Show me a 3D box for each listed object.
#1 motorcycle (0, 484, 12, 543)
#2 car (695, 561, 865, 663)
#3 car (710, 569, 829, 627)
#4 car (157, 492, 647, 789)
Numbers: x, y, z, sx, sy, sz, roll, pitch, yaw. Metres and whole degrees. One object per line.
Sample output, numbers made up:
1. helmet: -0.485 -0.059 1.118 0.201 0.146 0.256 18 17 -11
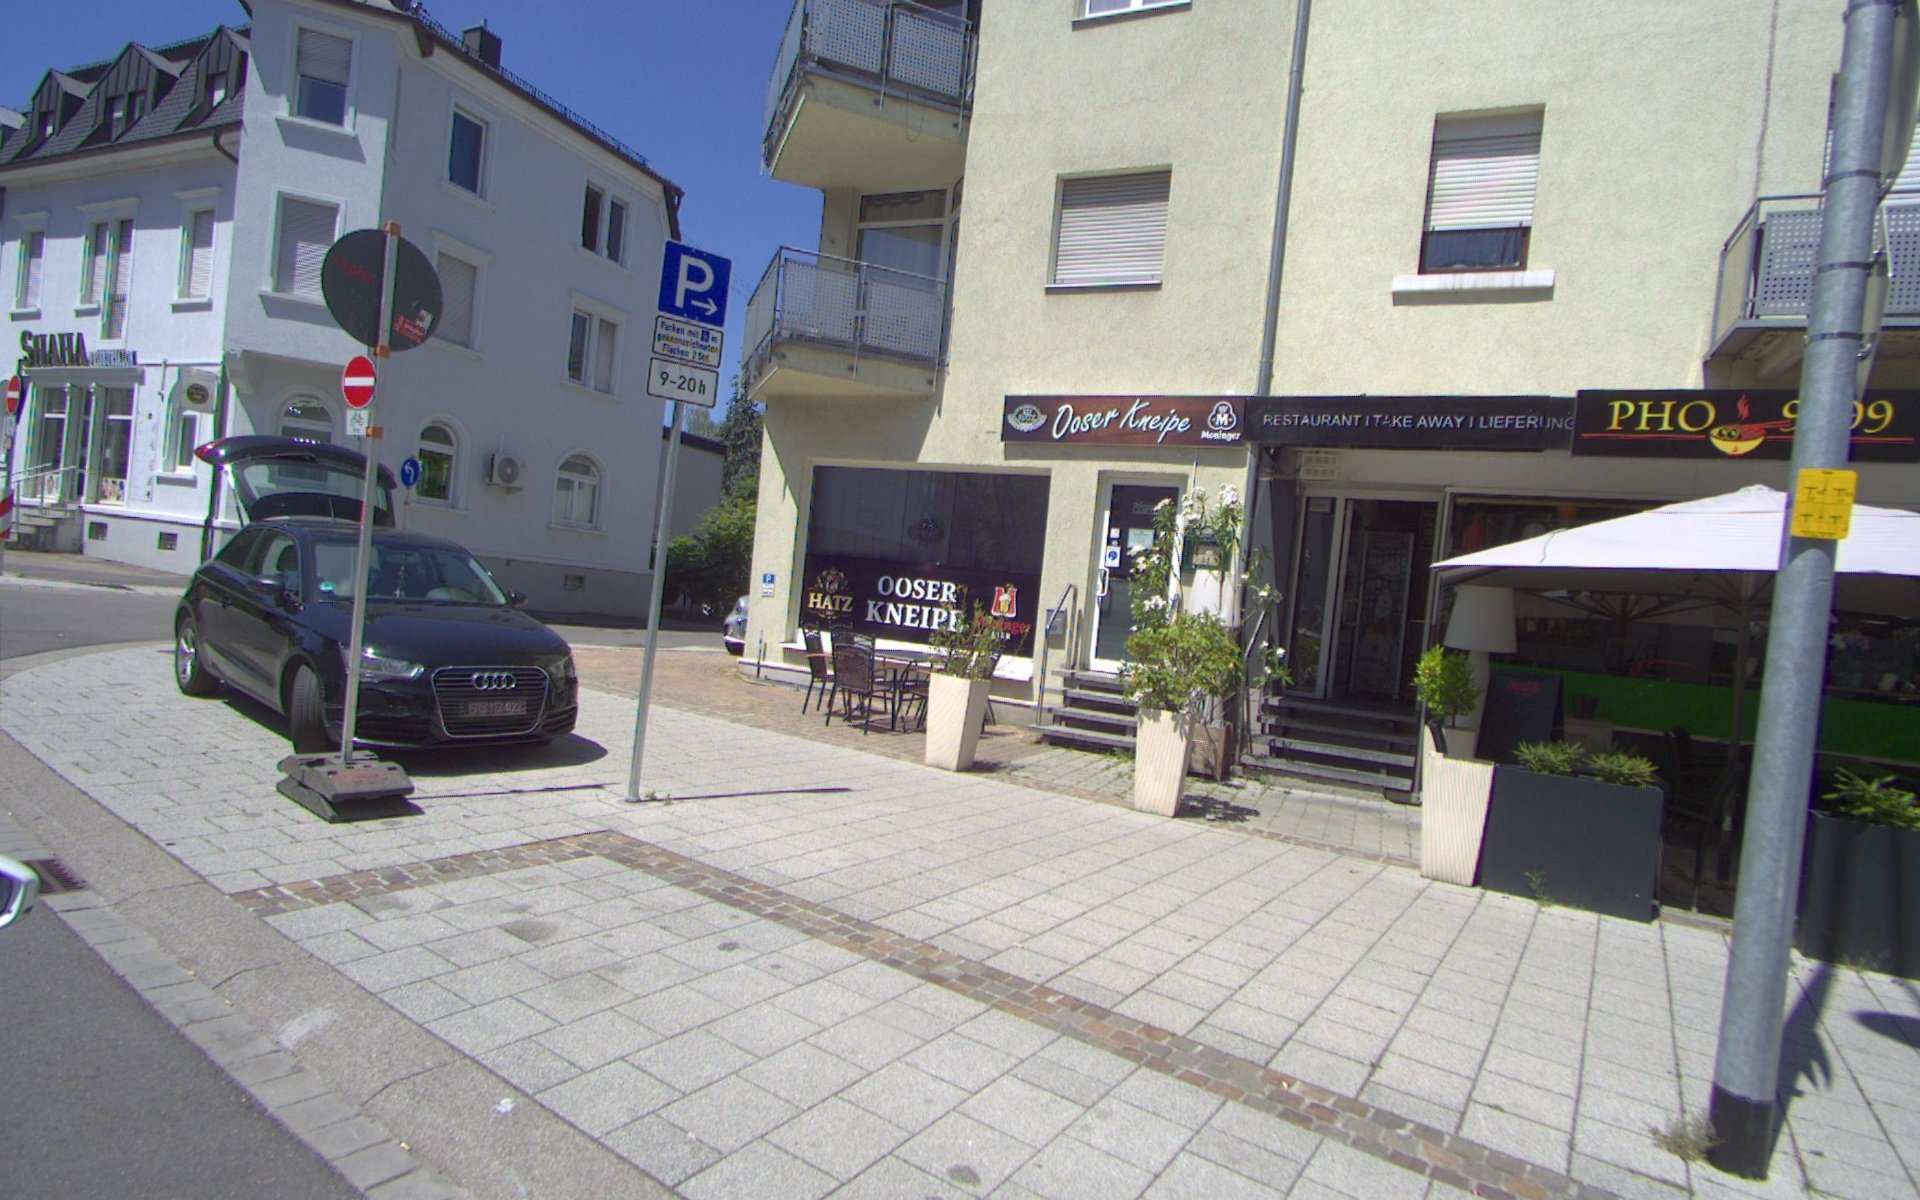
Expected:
1. motorcycle: -21.914 -2.024 21.345 0.841 1.290 2.383 7 -1 26
2. car: -3.080 0.258 17.675 1.503 1.489 2.734 5 -1 26
3. car: -7.184 -0.074 37.879 3.932 1.660 1.997 7 0 30
4. car: -4.279 0.147 7.484 3.805 1.511 1.869 8 2 40
